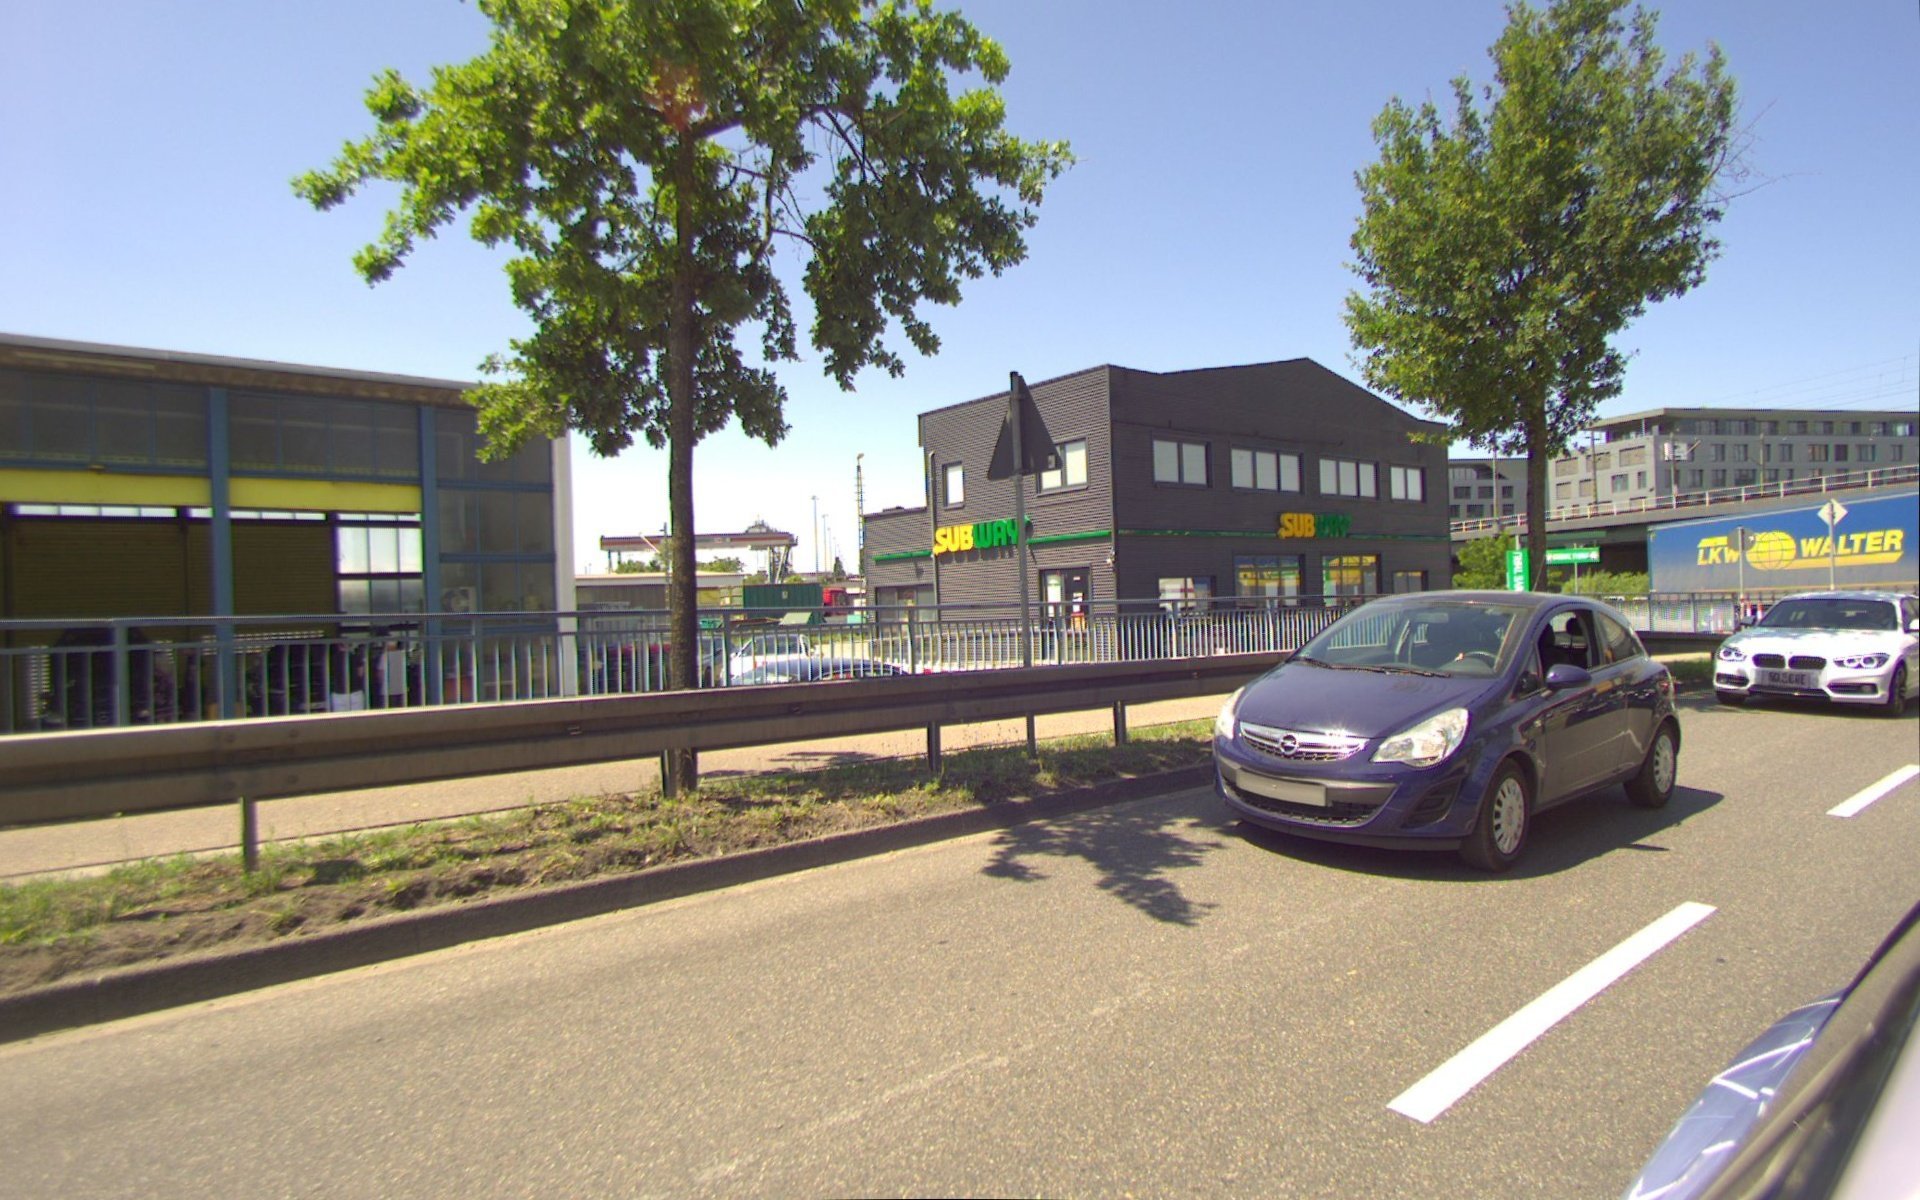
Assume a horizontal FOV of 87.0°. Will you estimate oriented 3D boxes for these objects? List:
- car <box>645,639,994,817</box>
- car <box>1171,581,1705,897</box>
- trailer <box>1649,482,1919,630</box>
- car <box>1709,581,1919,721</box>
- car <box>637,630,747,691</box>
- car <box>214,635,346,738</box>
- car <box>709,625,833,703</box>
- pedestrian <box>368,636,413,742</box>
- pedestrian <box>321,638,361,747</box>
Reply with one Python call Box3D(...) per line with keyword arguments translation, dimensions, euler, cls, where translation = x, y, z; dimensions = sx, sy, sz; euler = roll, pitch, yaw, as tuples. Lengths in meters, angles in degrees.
Box3D(translation=(-1.582, 1.374, 12.096), dimensions=(3.830, 1.551, 1.636), euler=(-2, 1, -38), cls="car")
Box3D(translation=(3.243, 0.620, 6.545), dimensions=(3.821, 1.462, 1.649), euler=(-1, 0, -39), cls="car")
Box3D(translation=(28.236, -1.264, 32.673), dimensions=(2.453, 4.142, 13.902), euler=(-1, 0, 0), cls="trailer")
Box3D(translation=(11.363, 0.521, 12.928), dimensions=(3.977, 1.461, 1.764), euler=(-1, 3, -36), cls="car")
Box3D(translation=(-6.834, 1.509, 26.130), dimensions=(1.455, 1.268, 3.606), euler=(-1, 1, 8), cls="car")
Box3D(translation=(-13.652, 1.636, 20.250), dimensions=(1.623, 1.705, 3.671), euler=(-2, 1, -43), cls="car")
Box3D(translation=(-4.269, 1.403, 23.637), dimensions=(1.962, 1.374, 5.084), euler=(-1, 1, 0), cls="car")
Box3D(translation=(-9.691, 1.498, 17.219), dimensions=(0.579, 1.724, 0.427), euler=(-1, 1, -40), cls="pedestrian")
Box3D(translation=(-10.261, 1.518, 16.765), dimensions=(0.479, 1.724, 0.522), euler=(-1, 0, -38), cls="pedestrian")
